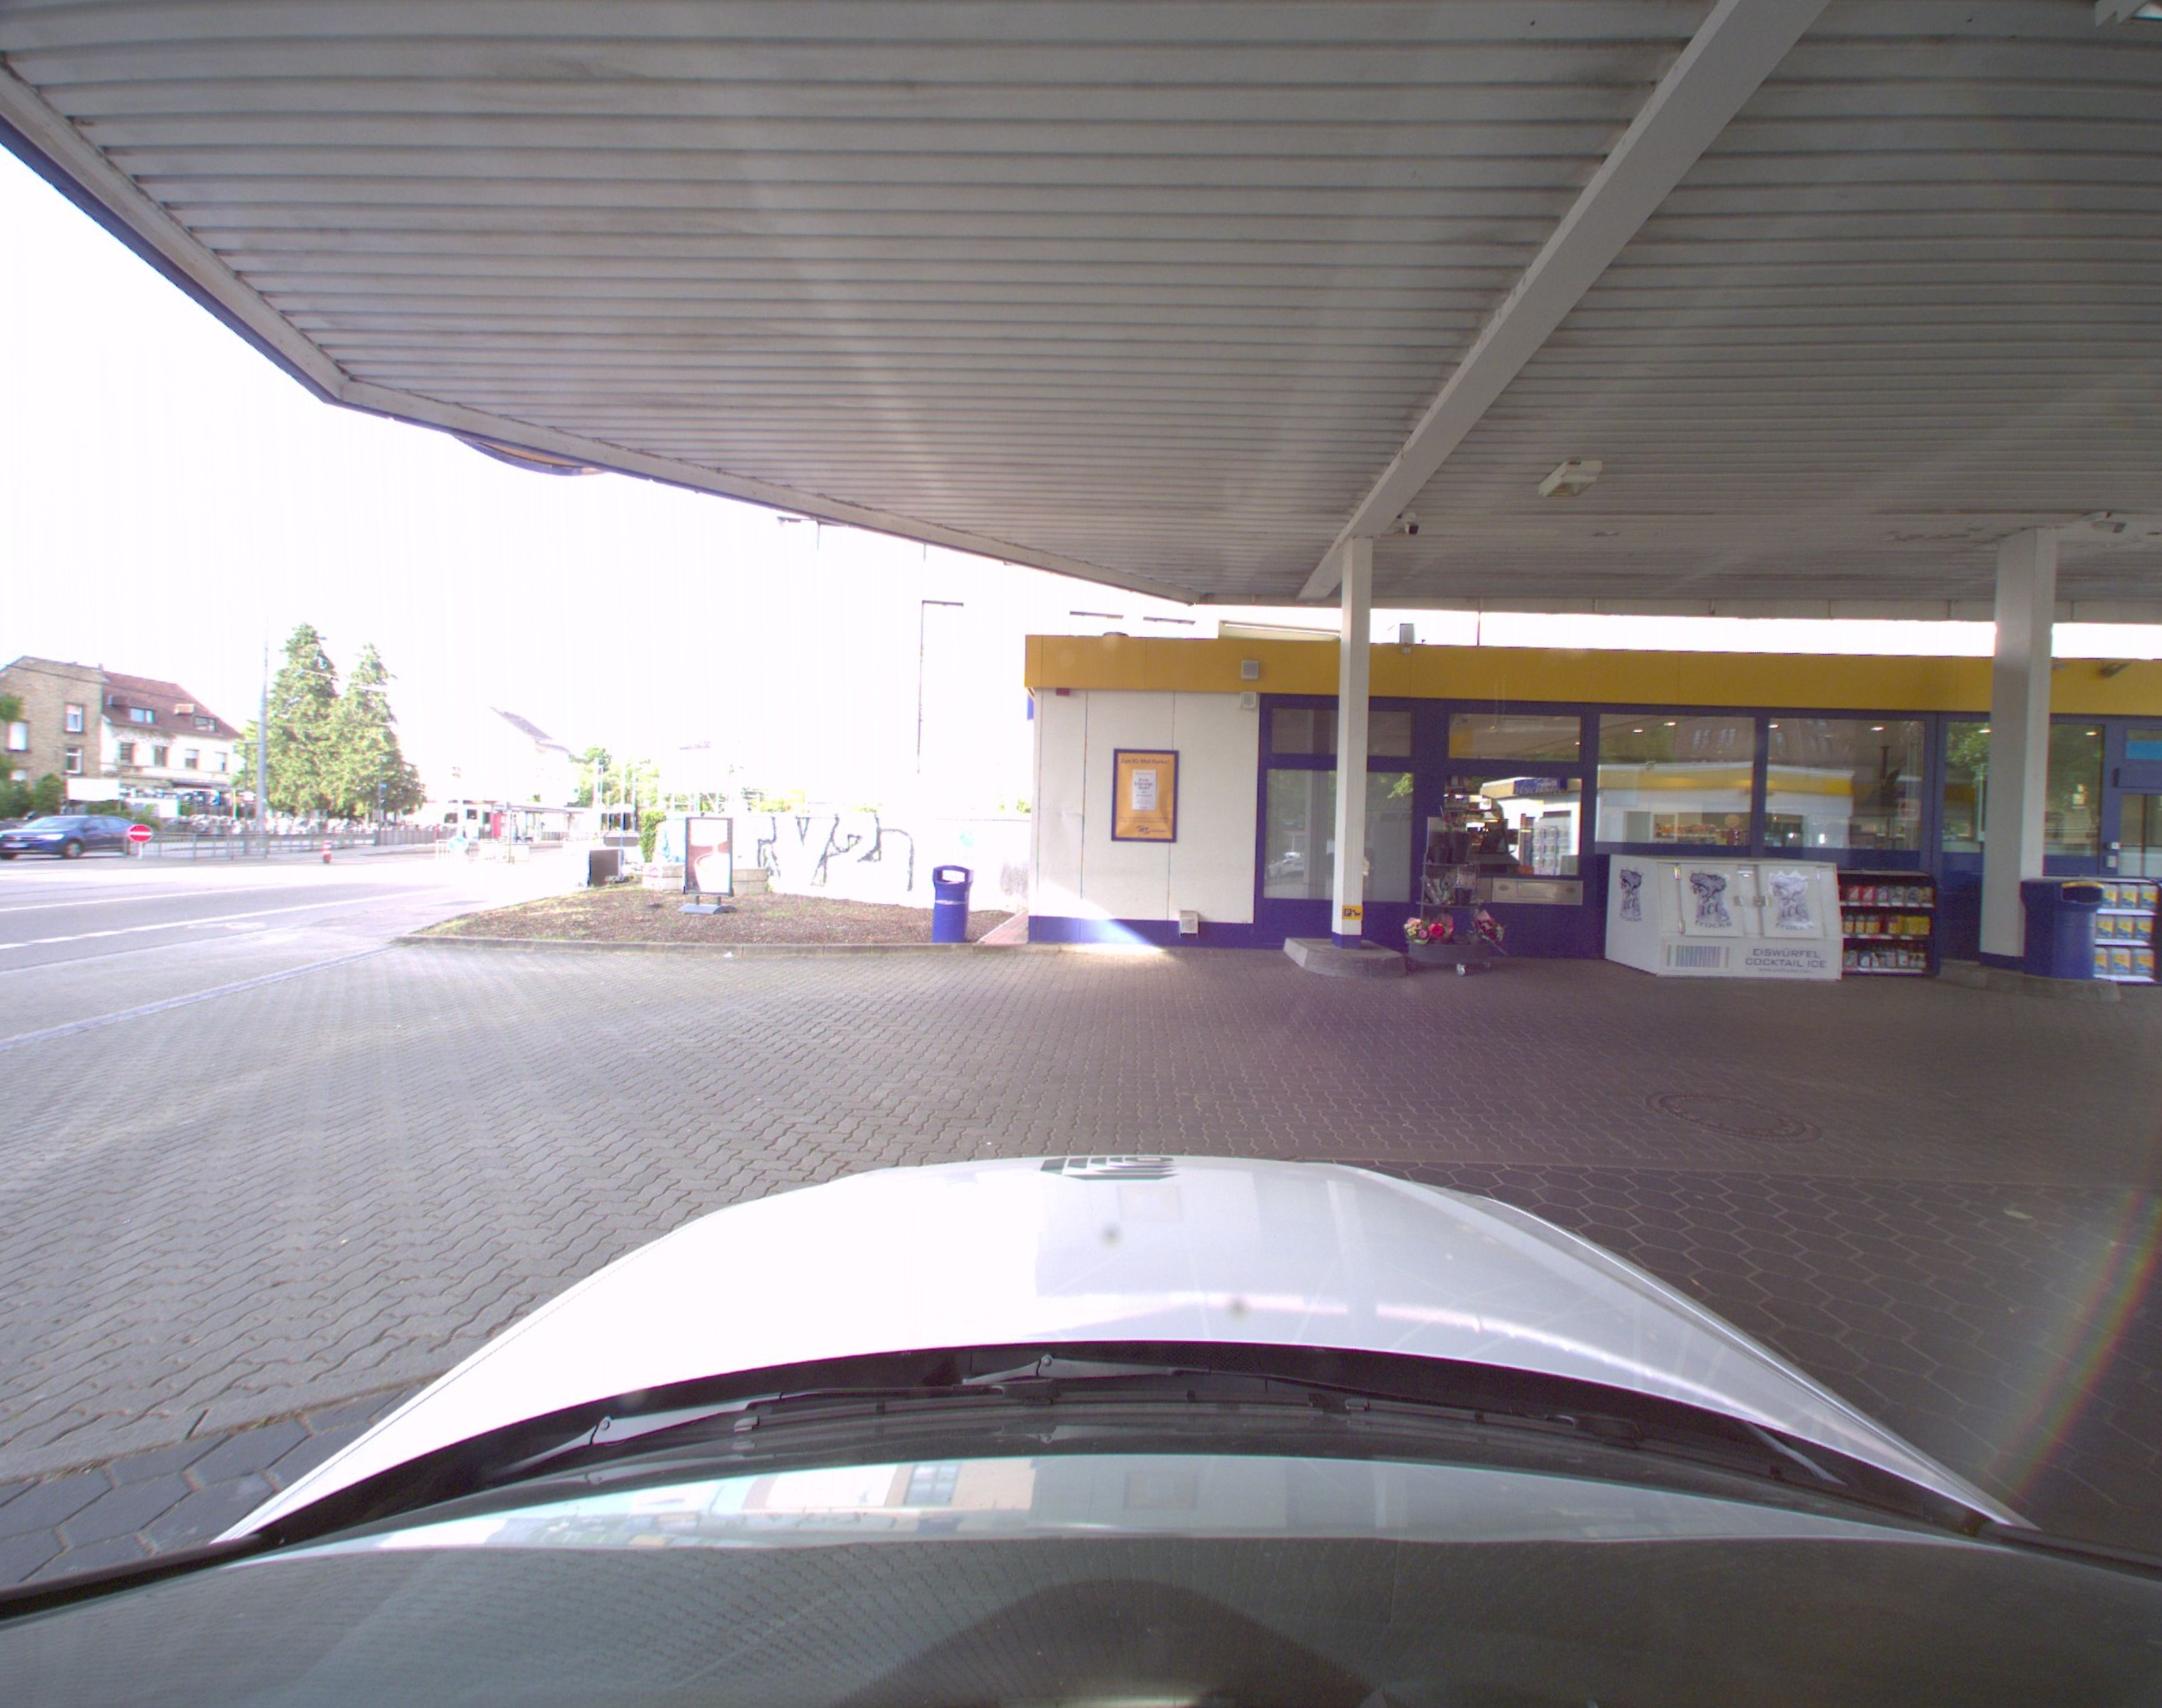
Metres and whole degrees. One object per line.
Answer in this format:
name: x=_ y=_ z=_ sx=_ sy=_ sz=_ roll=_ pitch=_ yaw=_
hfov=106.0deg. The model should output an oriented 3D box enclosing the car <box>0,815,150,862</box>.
car: x=-34.829 y=-0.543 z=28.068 sx=1.865 sy=1.469 sz=4.110 roll=1 pitch=1 yaw=-21
